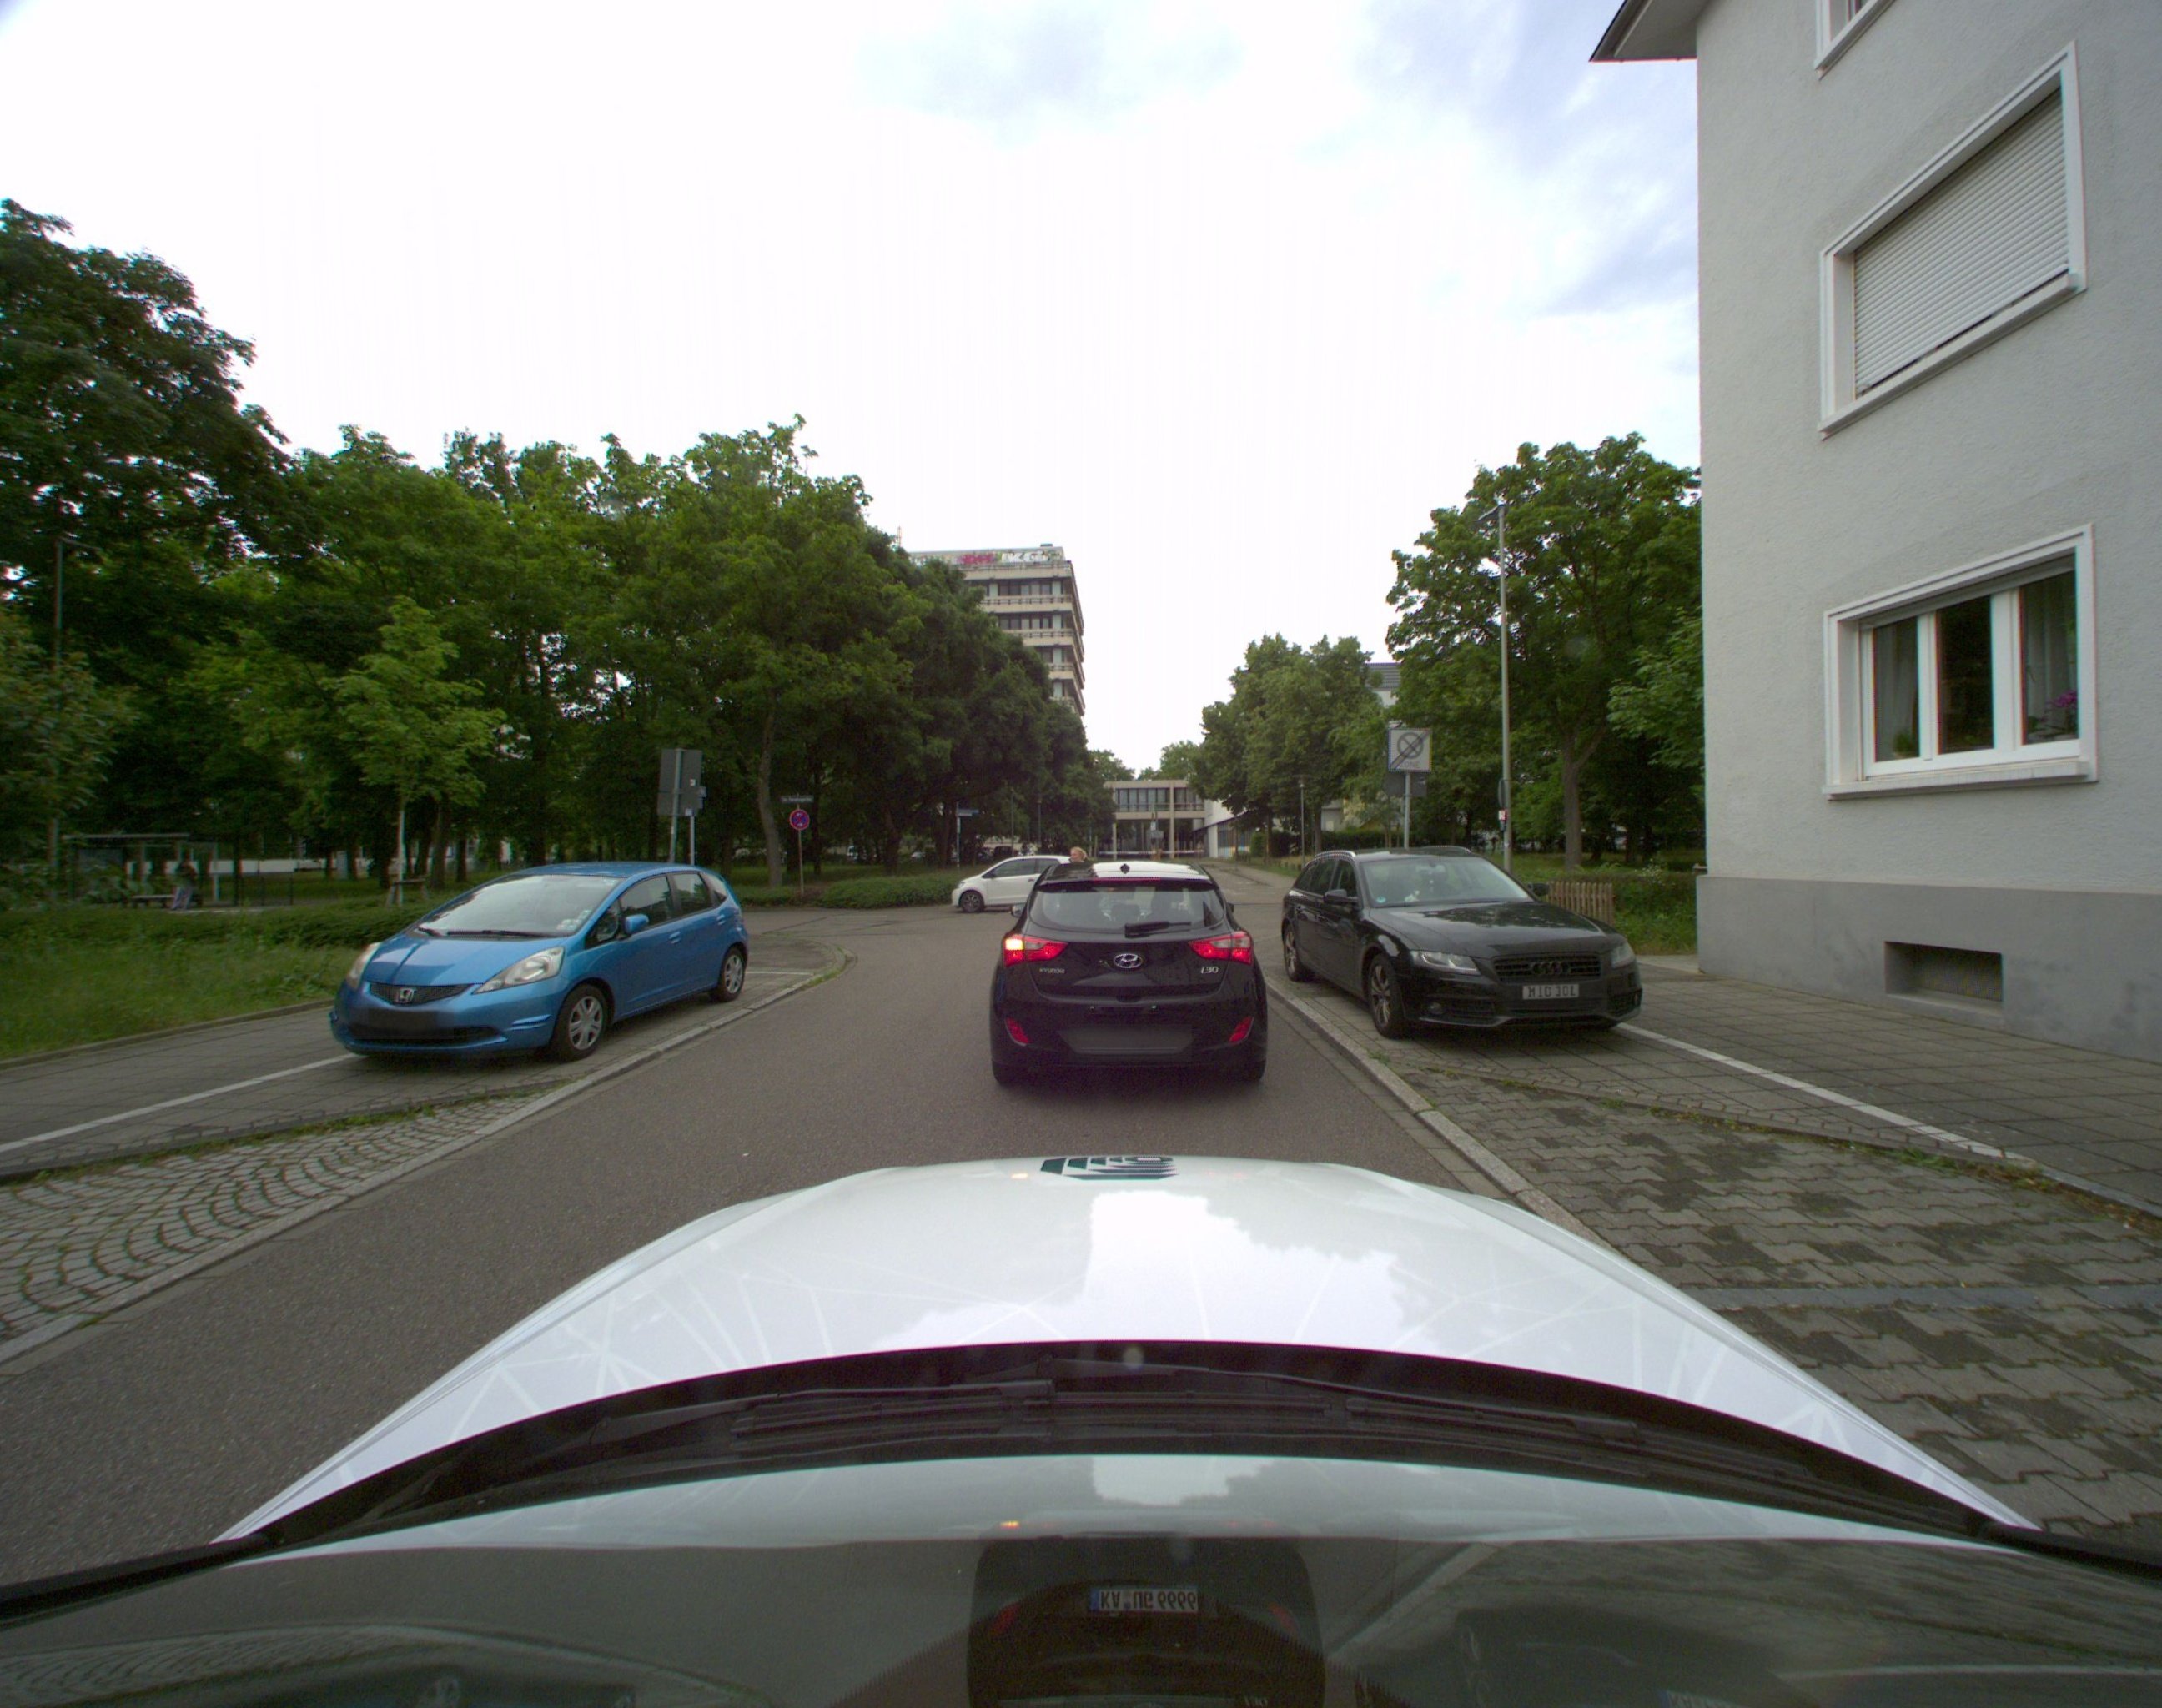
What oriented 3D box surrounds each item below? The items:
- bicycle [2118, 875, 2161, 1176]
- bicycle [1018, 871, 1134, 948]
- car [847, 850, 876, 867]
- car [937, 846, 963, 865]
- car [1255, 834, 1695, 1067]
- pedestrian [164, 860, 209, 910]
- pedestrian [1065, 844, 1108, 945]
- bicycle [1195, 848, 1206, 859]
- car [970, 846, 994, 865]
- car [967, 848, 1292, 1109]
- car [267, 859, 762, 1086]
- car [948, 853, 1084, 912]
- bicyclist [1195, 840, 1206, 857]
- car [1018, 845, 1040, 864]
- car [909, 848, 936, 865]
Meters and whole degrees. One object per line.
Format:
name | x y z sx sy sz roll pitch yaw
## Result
bicycle | 4.661 0.685 2.413 0.746 1.200 1.896 -3 0 1
bicycle | -0.098 0.890 13.371 1.810 1.119 0.537 -3 1 -7
car | -21.642 0.402 80.432 1.913 1.618 3.997 -1 0 -2
car | -12.775 0.194 79.611 1.988 1.728 3.996 -1 -1 -2
car | 3.104 0.620 7.722 1.854 1.462 4.725 -2 0 0
pedestrian | -29.102 1.009 26.493 0.693 1.583 0.656 -1 1 3
pedestrian | 0.082 0.633 13.015 0.565 1.549 0.447 -3 0 -5
bicycle | 11.708 -0.064 79.843 0.863 1.074 2.143 -1 1 3
car | -9.669 0.158 79.862 1.988 1.794 3.996 -1 -1 -2
car | 0.275 0.715 6.569 1.840 1.462 3.826 -1 0 0
car | -4.653 0.820 7.552 1.724 1.462 3.958 1 0 1
car | -1.681 0.741 21.895 3.521 1.437 1.567 -1 0 -1
bicyclist | 11.717 -0.511 79.943 1.013 1.644 0.924 -1 0 3
car | -5.089 0.104 79.808 1.988 1.762 3.997 -1 -1 -2
car | -15.482 0.229 79.749 1.988 1.618 3.997 -1 0 -2
